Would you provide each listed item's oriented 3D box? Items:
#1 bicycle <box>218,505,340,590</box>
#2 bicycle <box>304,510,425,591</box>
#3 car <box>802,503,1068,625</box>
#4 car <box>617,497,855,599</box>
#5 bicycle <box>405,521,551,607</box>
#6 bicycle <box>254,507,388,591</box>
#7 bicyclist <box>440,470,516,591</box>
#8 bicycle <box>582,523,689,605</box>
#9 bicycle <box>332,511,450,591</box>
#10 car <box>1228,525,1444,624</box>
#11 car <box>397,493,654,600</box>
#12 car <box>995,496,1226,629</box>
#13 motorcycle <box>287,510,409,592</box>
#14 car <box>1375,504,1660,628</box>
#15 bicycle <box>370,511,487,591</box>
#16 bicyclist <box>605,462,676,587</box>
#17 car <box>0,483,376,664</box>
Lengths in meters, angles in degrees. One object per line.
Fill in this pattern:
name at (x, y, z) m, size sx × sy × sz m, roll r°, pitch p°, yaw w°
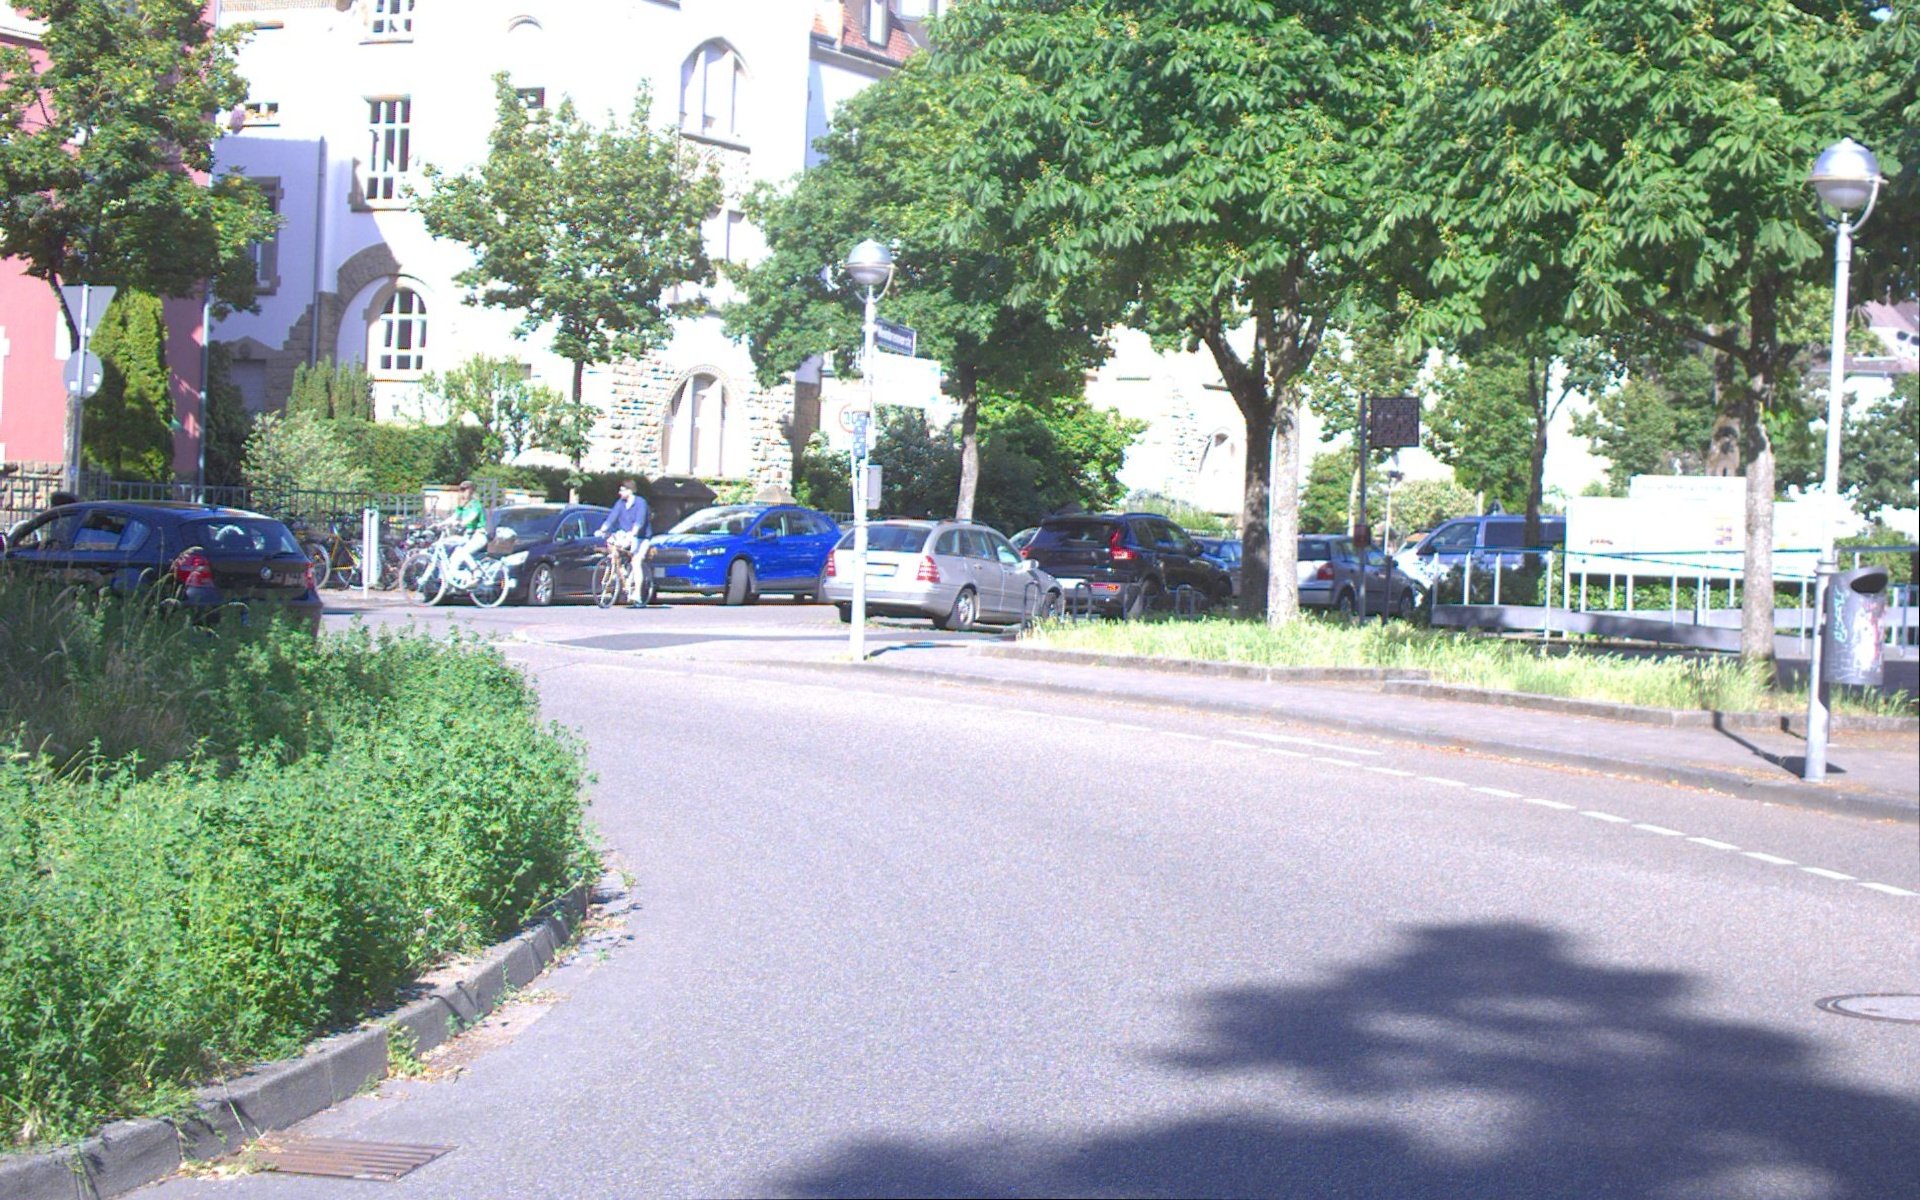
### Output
bicycle at (-9.869, -0.759, 49.827) m, size 1.724 × 1.111 × 0.545 m, roll 5°, pitch 2°, yaw 28°
bicycle at (-8.956, -0.746, 51.730) m, size 1.723 × 1.103 × 0.500 m, roll 5°, pitch 2°, yaw 21°
car at (-0.260, -0.457, 44.382) m, size 1.806 × 1.411 × 4.333 m, roll 4°, pitch 2°, yaw 23°
car at (-3.522, -0.813, 54.881) m, size 1.806 × 1.556 × 4.393 m, roll 0°, pitch 1°, yaw 27°
bicycle at (-6.400, -0.476, 45.715) m, size 1.858 × 1.104 × 0.596 m, roll 1°, pitch 1°, yaw -38°
bicycle at (-9.393, -0.758, 50.541) m, size 1.825 × 1.103 × 0.500 m, roll 4°, pitch 2°, yaw 12°
bicyclist at (-6.407, -0.920, 45.691) m, size 0.802 × 1.575 × 0.596 m, roll 1°, pitch 1°, yaw -32°
bicycle at (-4.511, -0.492, 47.874) m, size 0.645 × 1.104 × 1.714 m, roll 2°, pitch 1°, yaw 27°
bicycle at (-8.657, -0.749, 52.310) m, size 1.723 × 1.103 × 0.500 m, roll 5°, pitch 2°, yaw 24°
car at (6.172, -0.404, 56.056) m, size 1.807 × 1.469 × 4.331 m, roll 4°, pitch 2°, yaw 30°
car at (-6.229, -0.758, 49.794) m, size 1.806 × 1.478 × 4.333 m, roll 0°, pitch 1°, yaw 22°
car at (2.188, -0.530, 48.827) m, size 1.806 × 1.722 × 4.333 m, roll 4°, pitch 2°, yaw 23°
motorcycle at (-9.120, -0.737, 51.208) m, size 1.723 × 1.103 × 0.500 m, roll 5°, pitch 2°, yaw 21°
car at (10.199, -0.633, 62.912) m, size 4.770 × 1.994 × 1.807 m, roll 4°, pitch 2°, yaw 23°
bicycle at (-8.217, -0.762, 53.141) m, size 1.723 × 1.103 × 0.515 m, roll 5°, pitch 2°, yaw 24°
bicyclist at (-4.452, -1.052, 47.892) m, size 0.645 × 1.708 × 0.722 m, roll 2°, pitch 1°, yaw 26°
car at (-7.012, -0.260, 29.345) m, size 3.997 × 1.414 × 1.866 m, roll 2°, pitch 1°, yaw 41°
